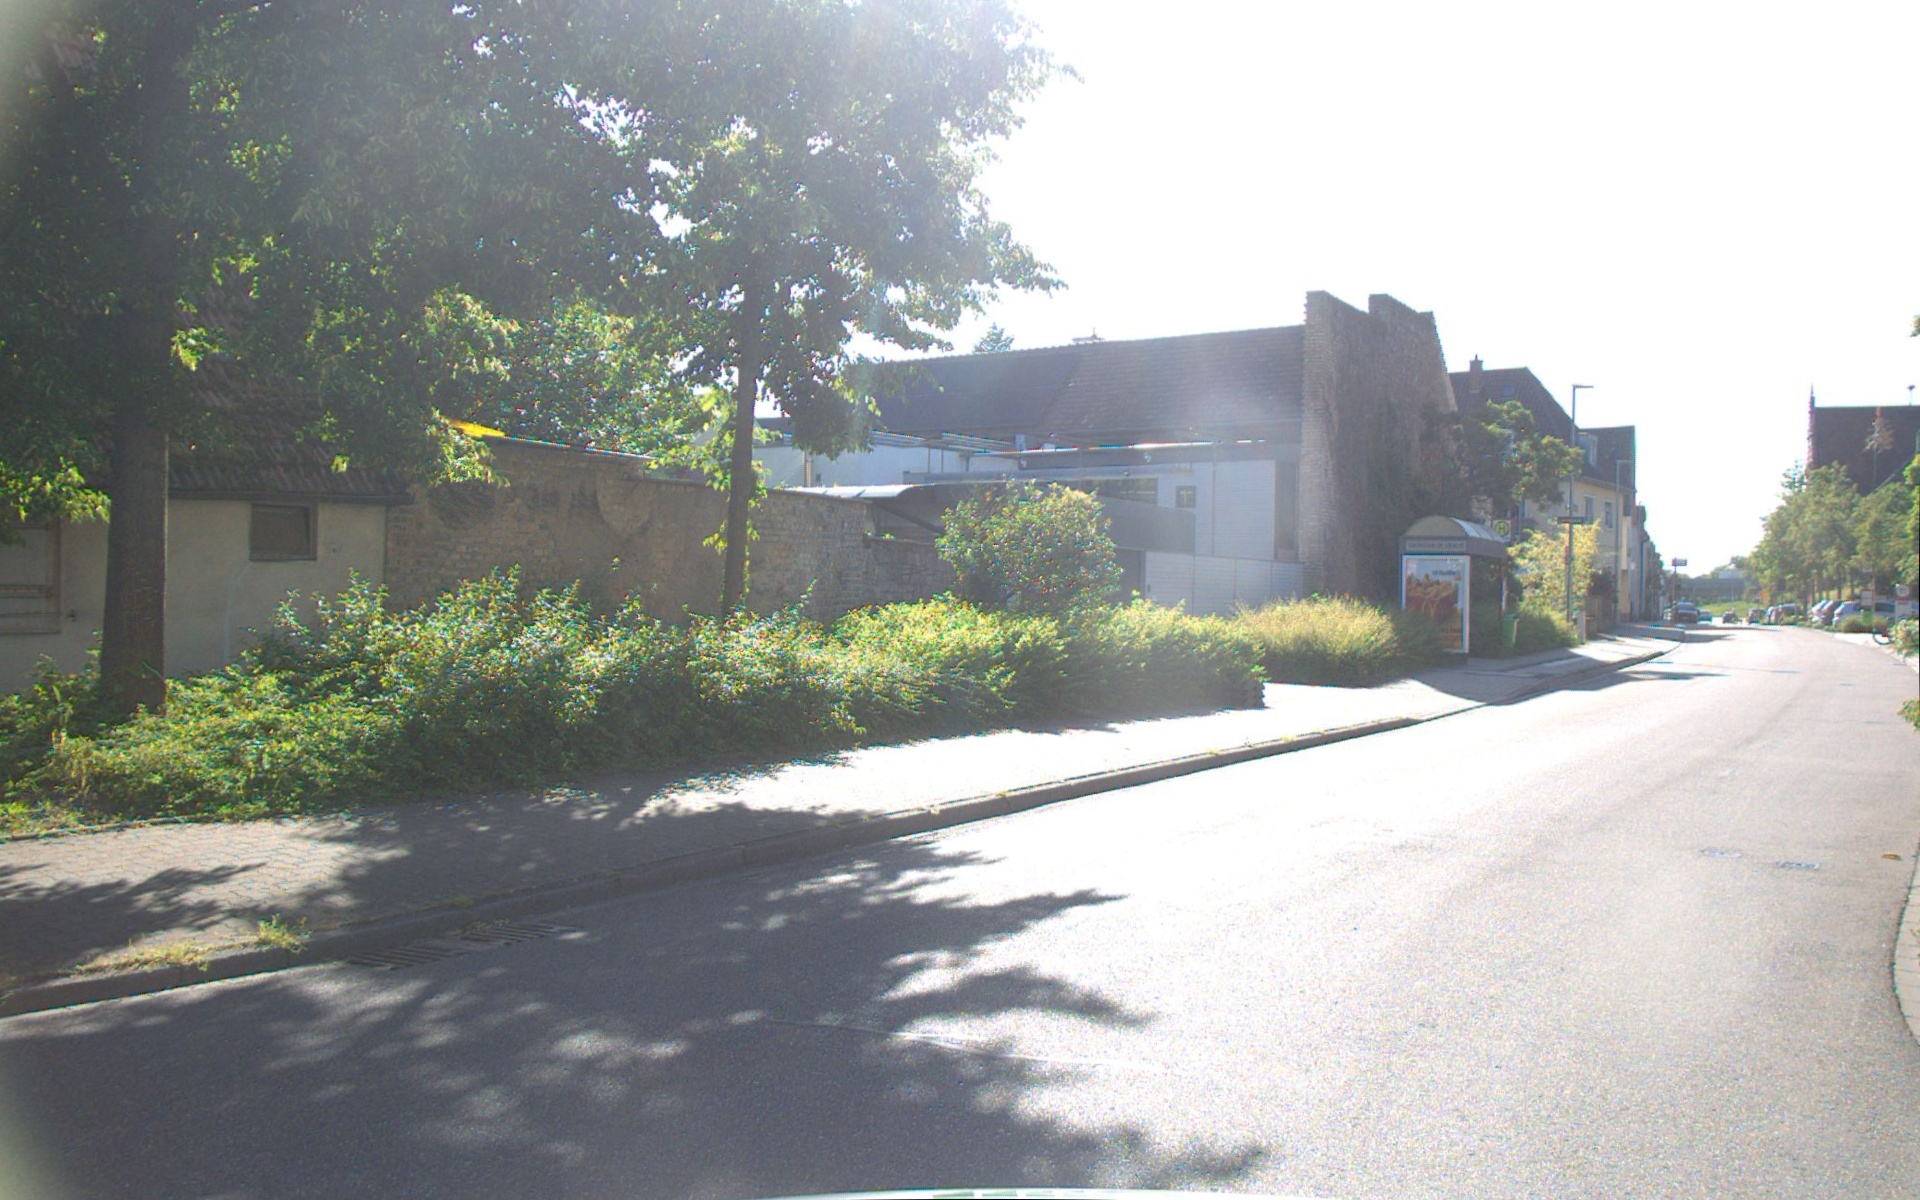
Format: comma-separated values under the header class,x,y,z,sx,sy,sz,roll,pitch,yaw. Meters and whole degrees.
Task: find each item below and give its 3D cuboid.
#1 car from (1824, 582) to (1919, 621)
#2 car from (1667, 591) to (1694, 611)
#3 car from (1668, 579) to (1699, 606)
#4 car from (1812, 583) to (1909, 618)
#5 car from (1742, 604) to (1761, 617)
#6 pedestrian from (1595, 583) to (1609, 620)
class,x,y,z,sx,sy,sz,roll,pitch,yaw
car,40.956,0.056,73.847,3.903,1.591,1.916,2,1,17
car,55.685,0.067,127.887,1.870,1.500,3.999,2,1,23
car,42.584,-0.463,97.432,1.582,1.500,3.999,2,1,23
car,45.166,0.033,83.033,3.903,1.591,1.916,2,1,17
car,95.573,1.247,199.646,1.870,1.500,3.999,2,1,23
pedestrian,23.421,0.053,60.352,0.393,1.370,0.441,0,0,31
